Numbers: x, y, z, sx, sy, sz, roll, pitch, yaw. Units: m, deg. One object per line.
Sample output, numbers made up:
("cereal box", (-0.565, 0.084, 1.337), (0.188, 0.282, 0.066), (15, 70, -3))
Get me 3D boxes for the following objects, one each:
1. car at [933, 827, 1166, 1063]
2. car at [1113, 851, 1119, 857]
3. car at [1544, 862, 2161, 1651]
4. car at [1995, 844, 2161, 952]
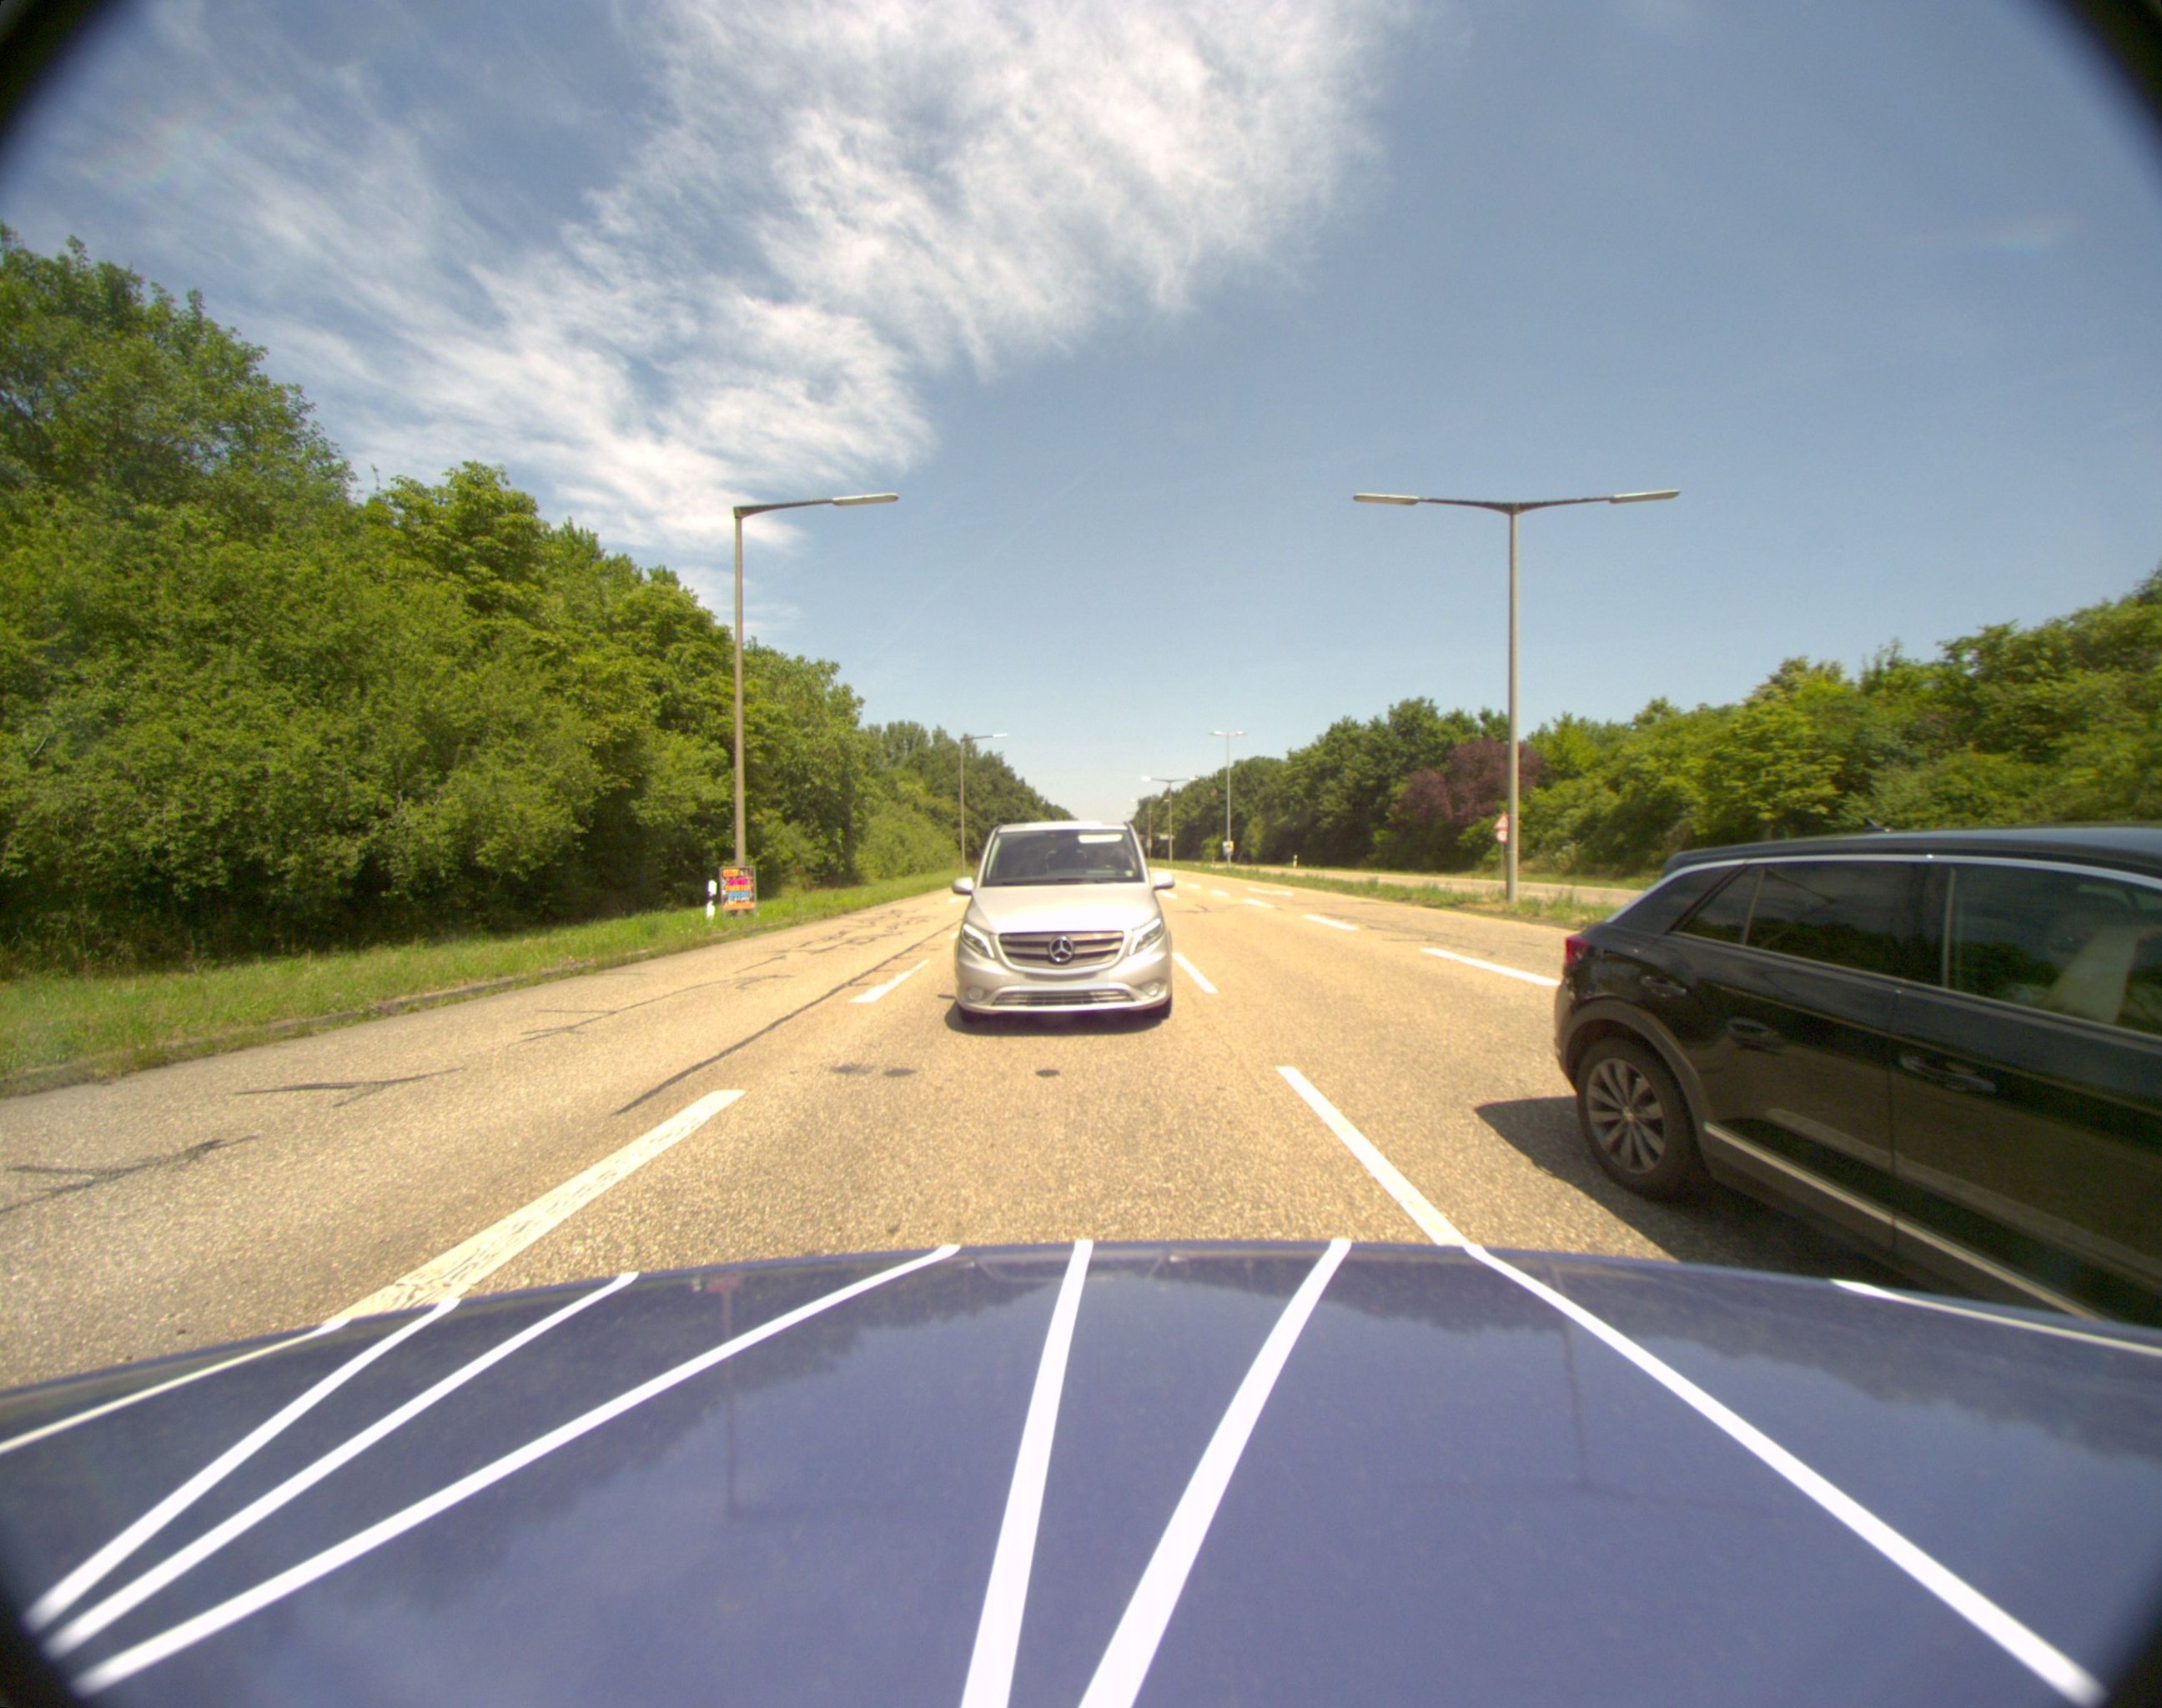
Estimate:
("car", (-0.220, 0.691, 8.368), (1.764, 1.794, 4.855), (-2, 1, 1))
("car", (10.383, 0.020, 225.840), (1.735, 1.815, 4.321), (-1, 0, 1))
("car", (3.065, 0.857, 1.629), (1.739, 1.503, 3.970), (-2, 1, 1))
("car", (15.479, 0.595, 10.029), (1.827, 1.447, 4.168), (0, 0, 0))
